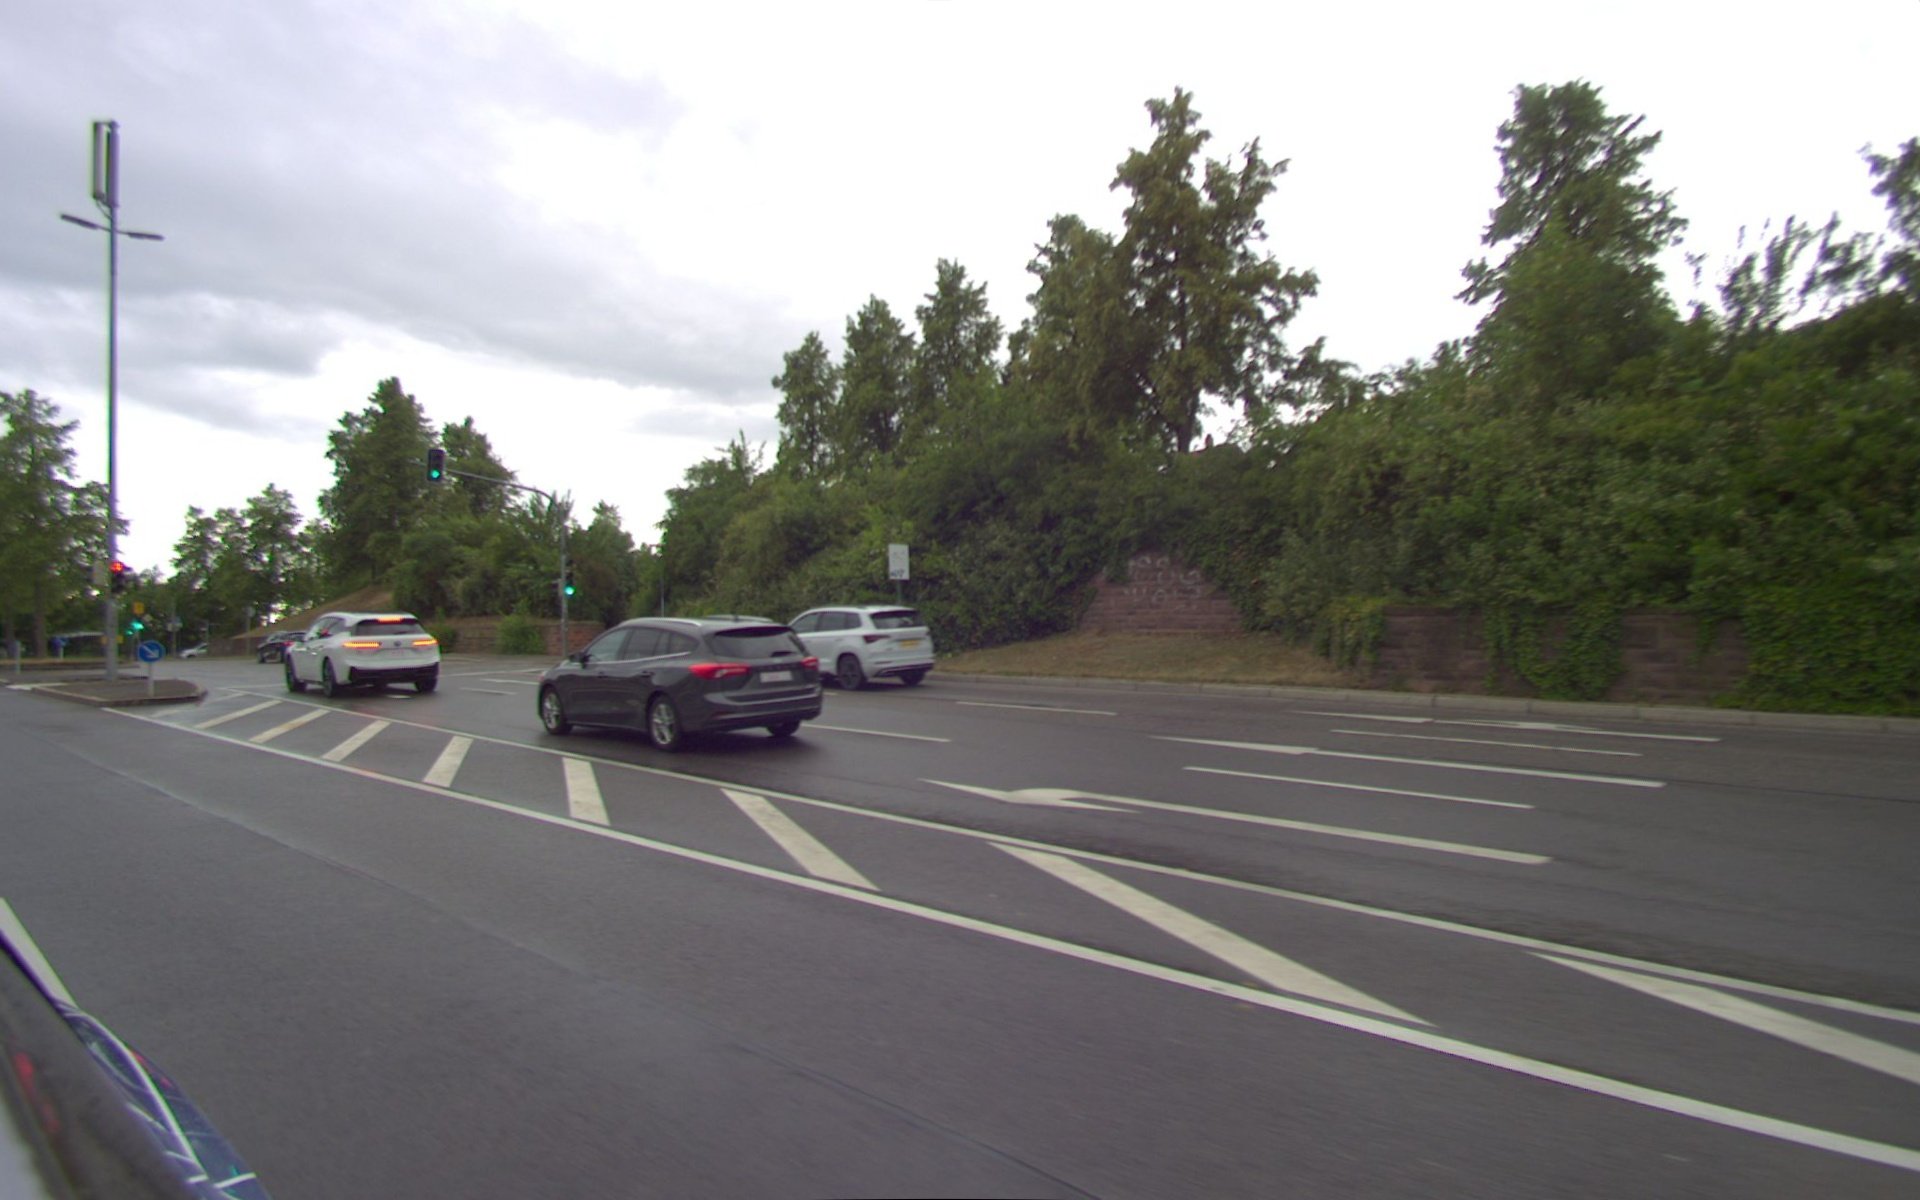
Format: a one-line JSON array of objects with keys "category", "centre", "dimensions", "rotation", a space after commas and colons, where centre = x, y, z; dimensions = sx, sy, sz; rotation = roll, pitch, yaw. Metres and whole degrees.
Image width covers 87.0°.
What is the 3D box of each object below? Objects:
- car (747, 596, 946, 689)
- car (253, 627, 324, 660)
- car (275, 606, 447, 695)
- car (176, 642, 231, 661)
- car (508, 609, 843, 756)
[{"category": "car", "centre": [-2.320, 0.791, 20.059], "dimensions": [4.000, 1.603, 1.705], "rotation": [-1, 1, 43]}, {"category": "car", "centre": [-30.886, 1.981, 46.498], "dimensions": [4.455, 1.448, 1.799], "rotation": [-2, -2, 43]}, {"category": "car", "centre": [-12.848, 1.006, 21.541], "dimensions": [5.007, 1.648, 1.923], "rotation": [-1, -1, 44]}, {"category": "car", "centre": [-63.584, 4.343, 85.072], "dimensions": [3.640, 1.489, 1.764], "rotation": [0, -3, -41]}, {"category": "car", "centre": [-3.646, 0.894, 12.438], "dimensions": [4.644, 1.483, 1.759], "rotation": [-2, -1, 42]}]
